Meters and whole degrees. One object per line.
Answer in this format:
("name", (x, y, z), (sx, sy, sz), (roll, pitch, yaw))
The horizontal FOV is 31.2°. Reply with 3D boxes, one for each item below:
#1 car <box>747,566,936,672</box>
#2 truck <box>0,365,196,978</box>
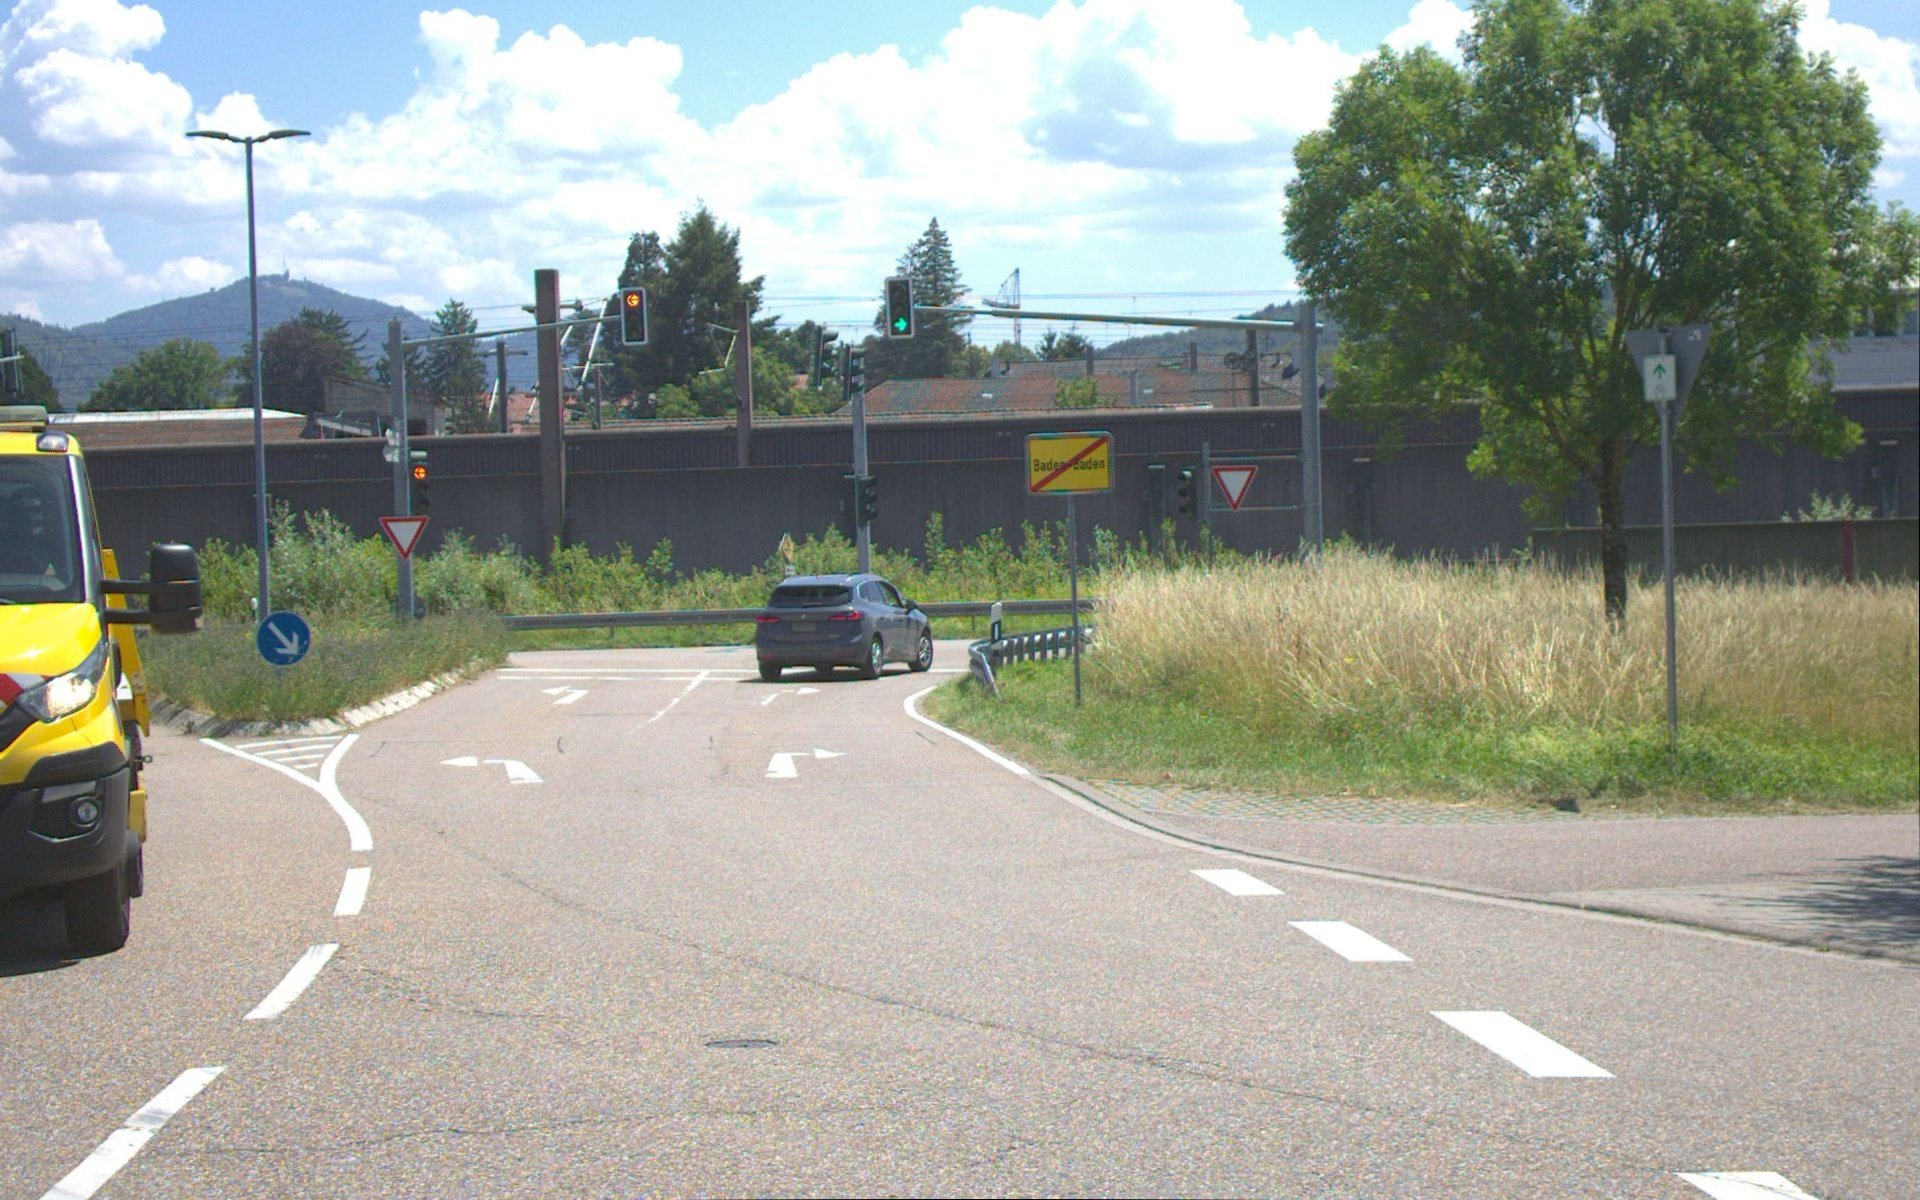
("car", (-1.763, 0.259, 52.681), (1.994, 1.498, 3.998), (0, 2, 12))
("truck", (-5.260, 0.329, 17.509), (2.310, 2.329, 9.053), (-4, 1, -11))
